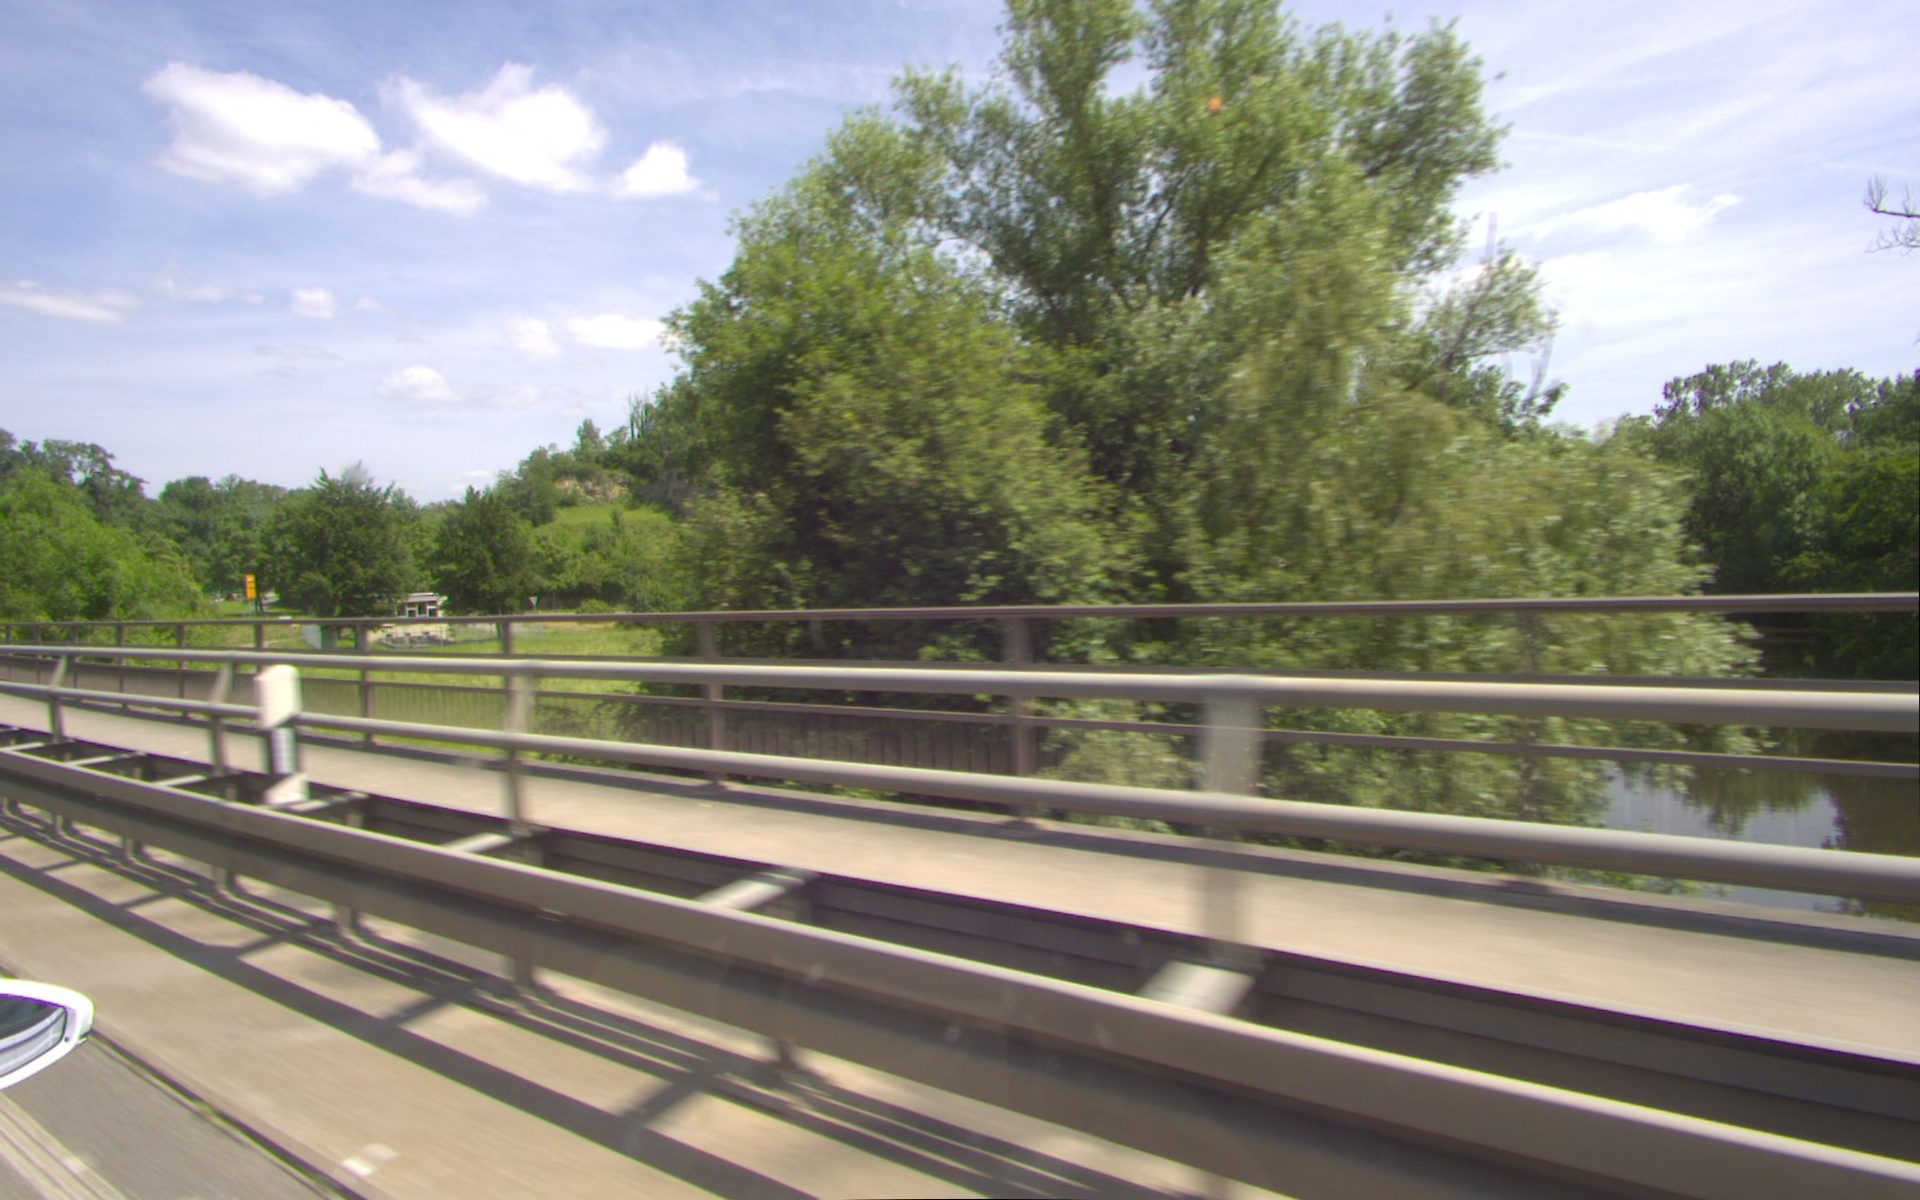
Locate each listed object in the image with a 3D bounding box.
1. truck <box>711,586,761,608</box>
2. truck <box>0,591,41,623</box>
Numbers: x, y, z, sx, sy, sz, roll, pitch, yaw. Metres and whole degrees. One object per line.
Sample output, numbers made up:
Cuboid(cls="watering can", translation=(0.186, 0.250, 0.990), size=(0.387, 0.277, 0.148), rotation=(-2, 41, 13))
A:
Cuboid(cls="truck", translation=(-28.870, -0.365, 129.245), size=(5.939, 2.762, 2.492), rotation=(1, -2, -27))
Cuboid(cls="truck", translation=(-93.145, 0.670, 98.091), size=(2.821, 2.987, 7.072), rotation=(0, 0, -27))
